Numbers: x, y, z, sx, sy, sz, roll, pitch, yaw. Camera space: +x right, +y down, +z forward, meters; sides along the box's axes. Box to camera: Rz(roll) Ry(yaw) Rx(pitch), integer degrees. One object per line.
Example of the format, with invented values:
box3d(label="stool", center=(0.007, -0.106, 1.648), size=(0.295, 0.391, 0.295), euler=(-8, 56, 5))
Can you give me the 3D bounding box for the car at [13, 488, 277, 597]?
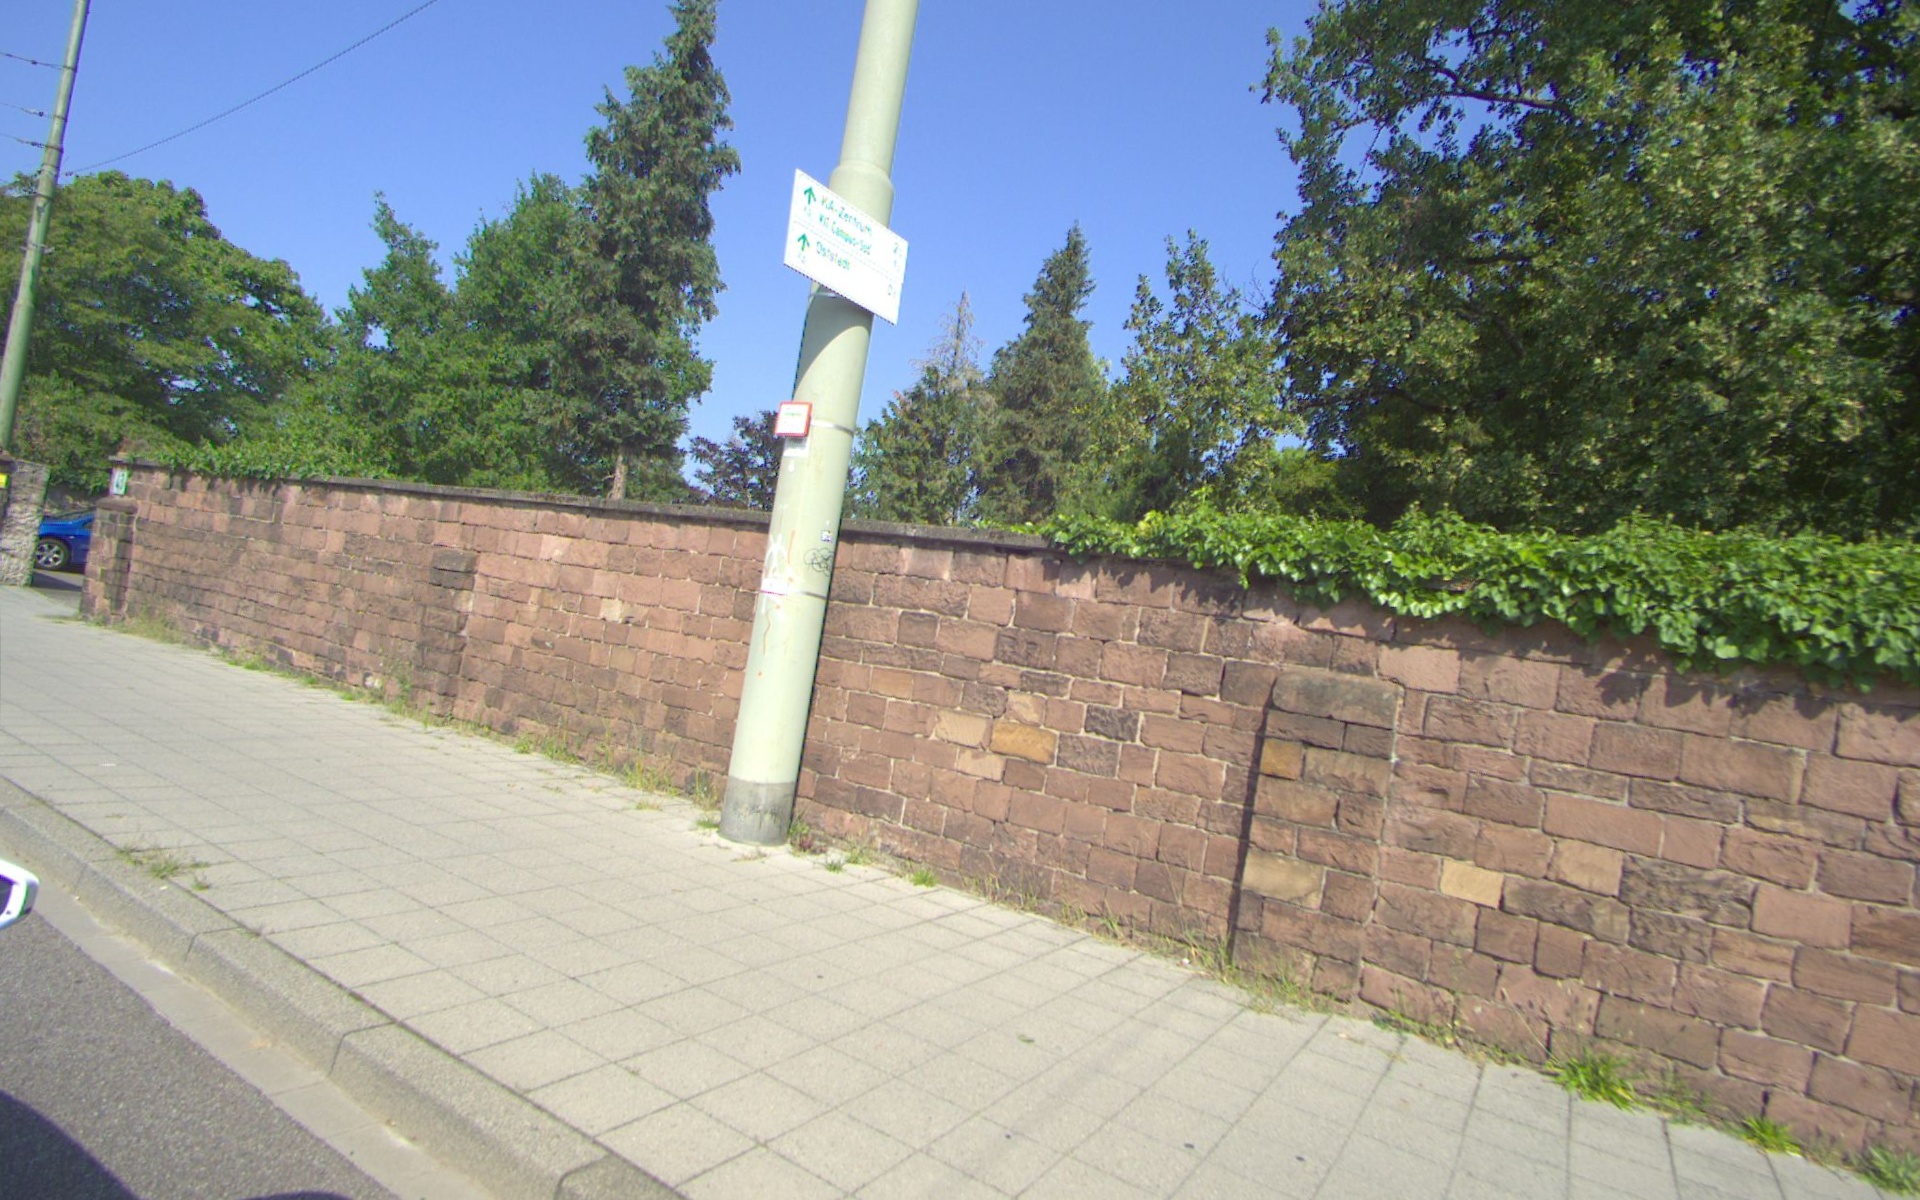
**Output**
box3d(label="car", center=(-17.553, -1.190, 21.873), size=(1.748, 1.479, 3.980), euler=(8, -4, 31))
